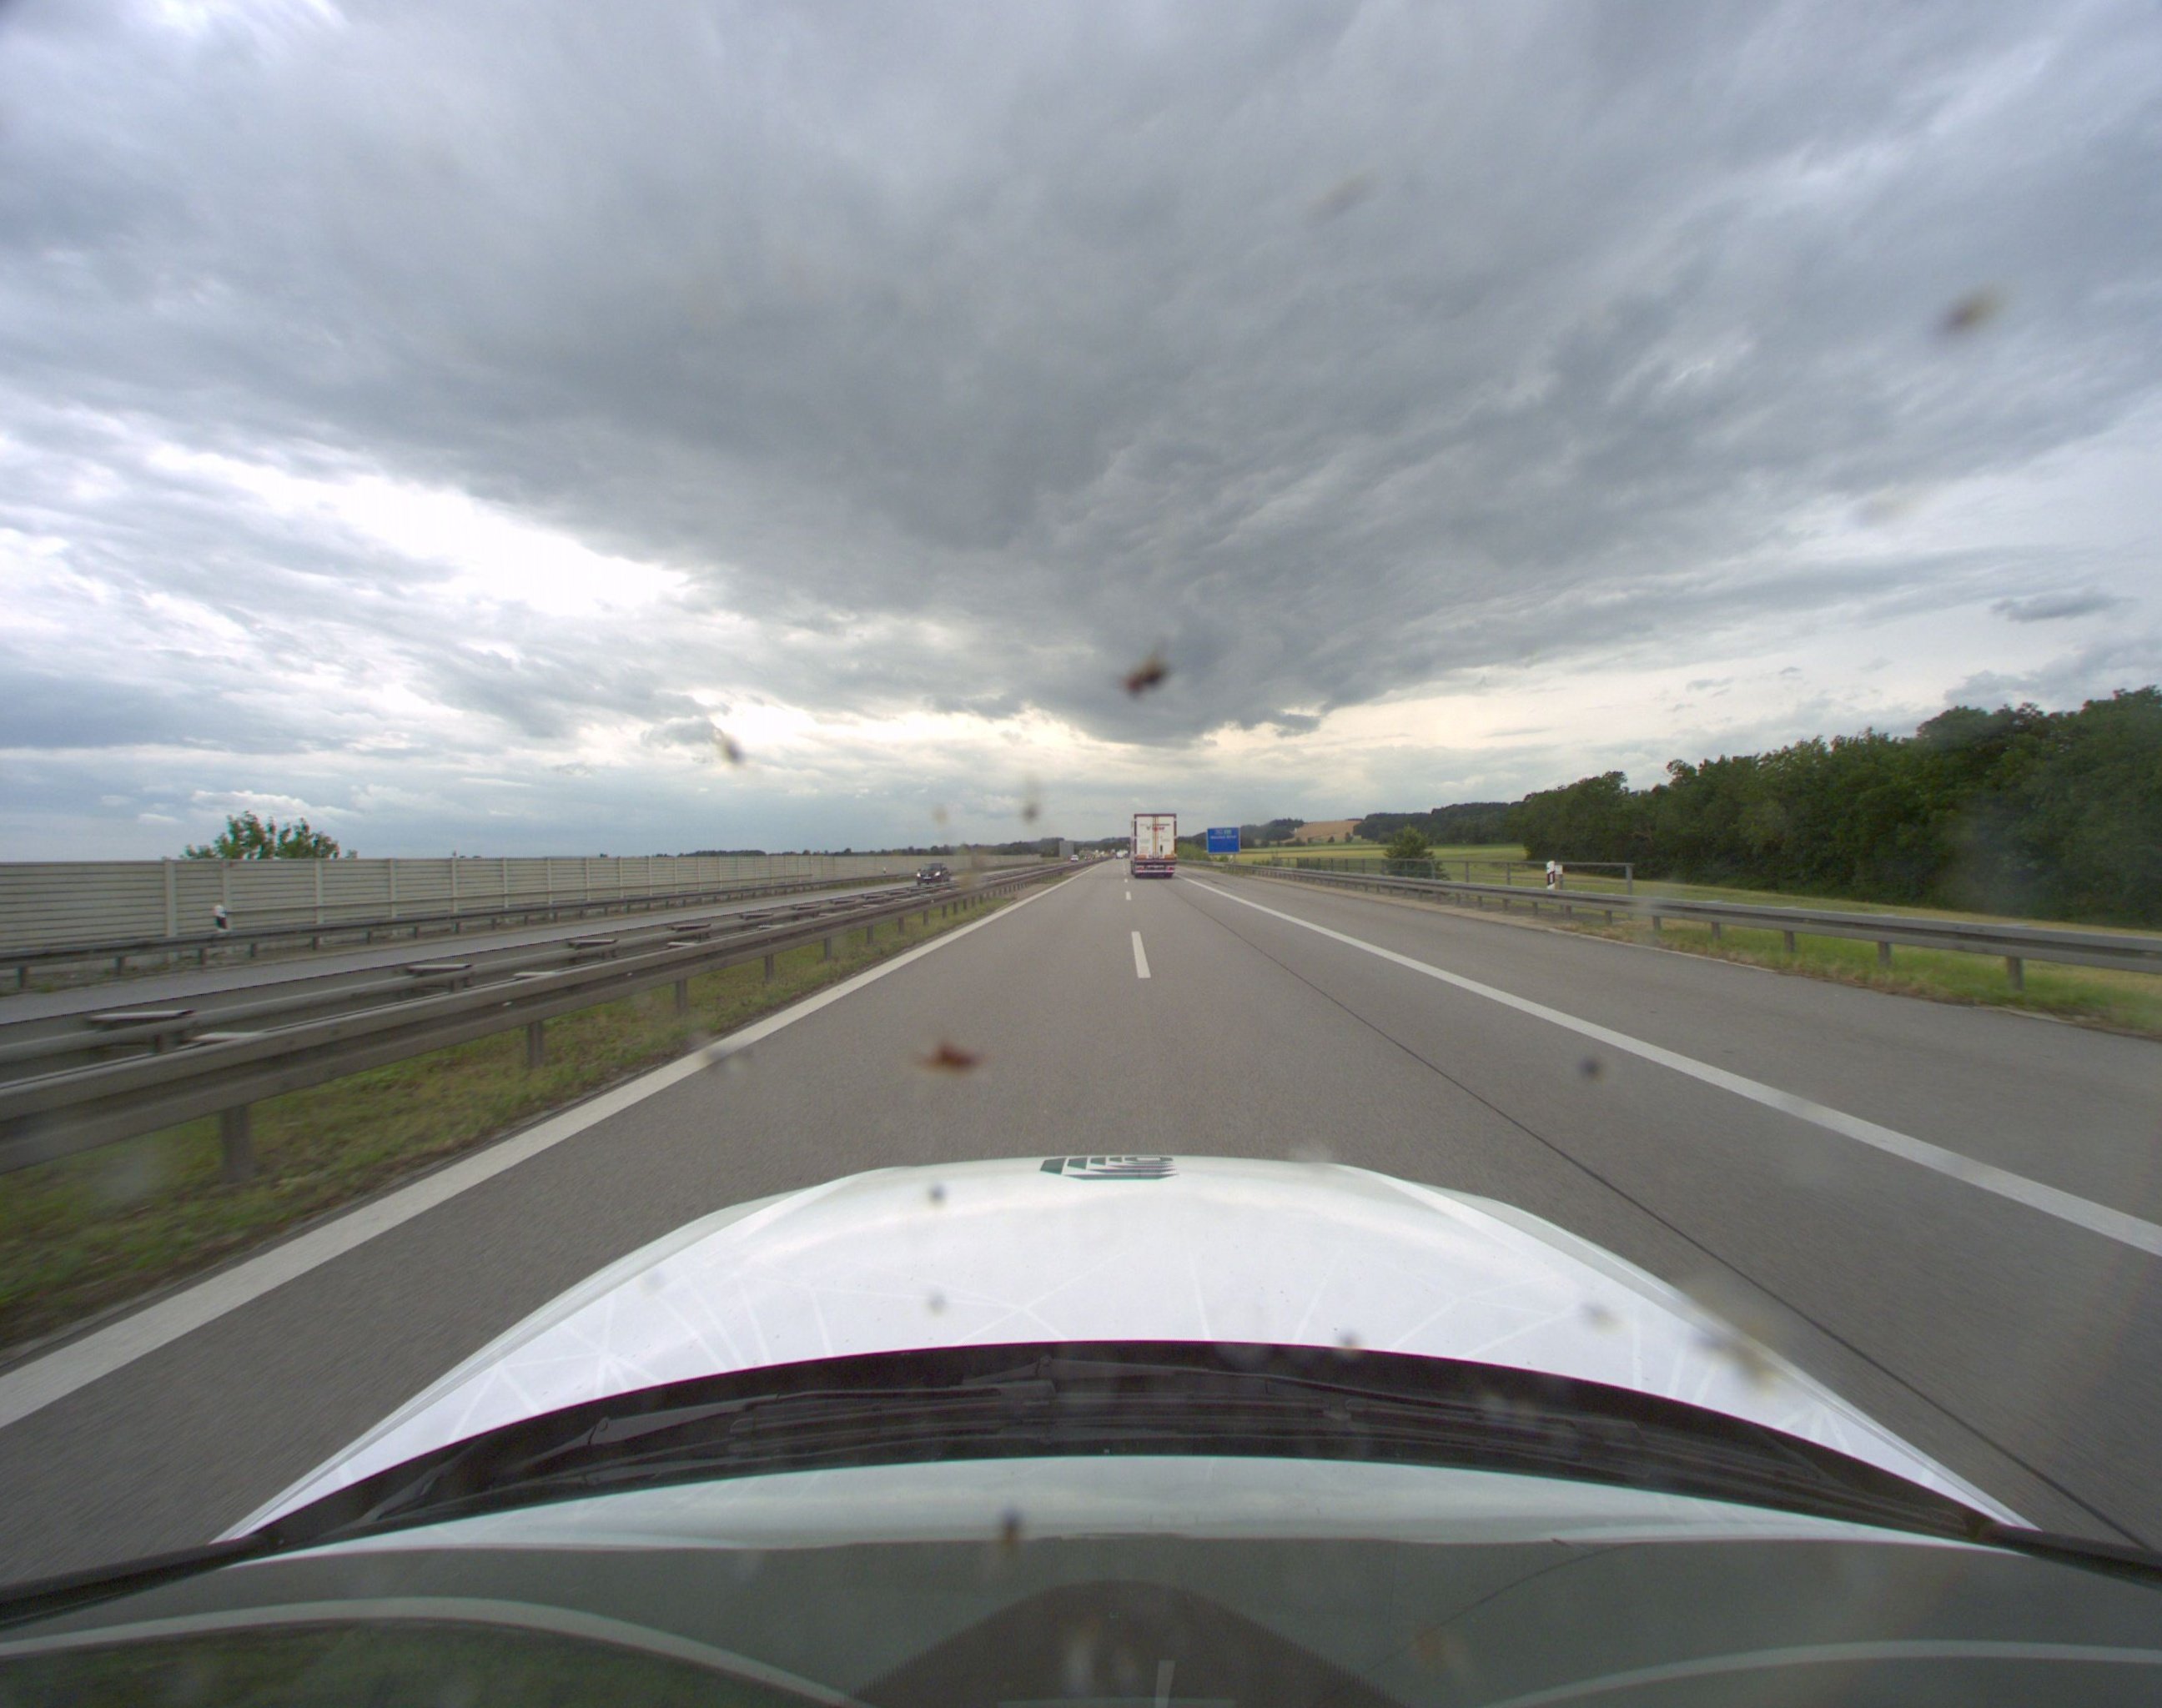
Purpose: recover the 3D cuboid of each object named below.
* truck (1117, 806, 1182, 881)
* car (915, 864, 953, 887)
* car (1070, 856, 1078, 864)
[{"bbox_3d":[4.533,-0.657,57.525,3.658,4.412,16.348,-1,0,2],"label":"truck"},{"bbox_3d":[-9.895,1.413,55.119,1.664,1.386,4.002,-3,0,2],"label":"car"},{"bbox_3d":[-1.737,1.517,210.202,1.748,1.742,4.917,5,1,3],"label":"car"}]
